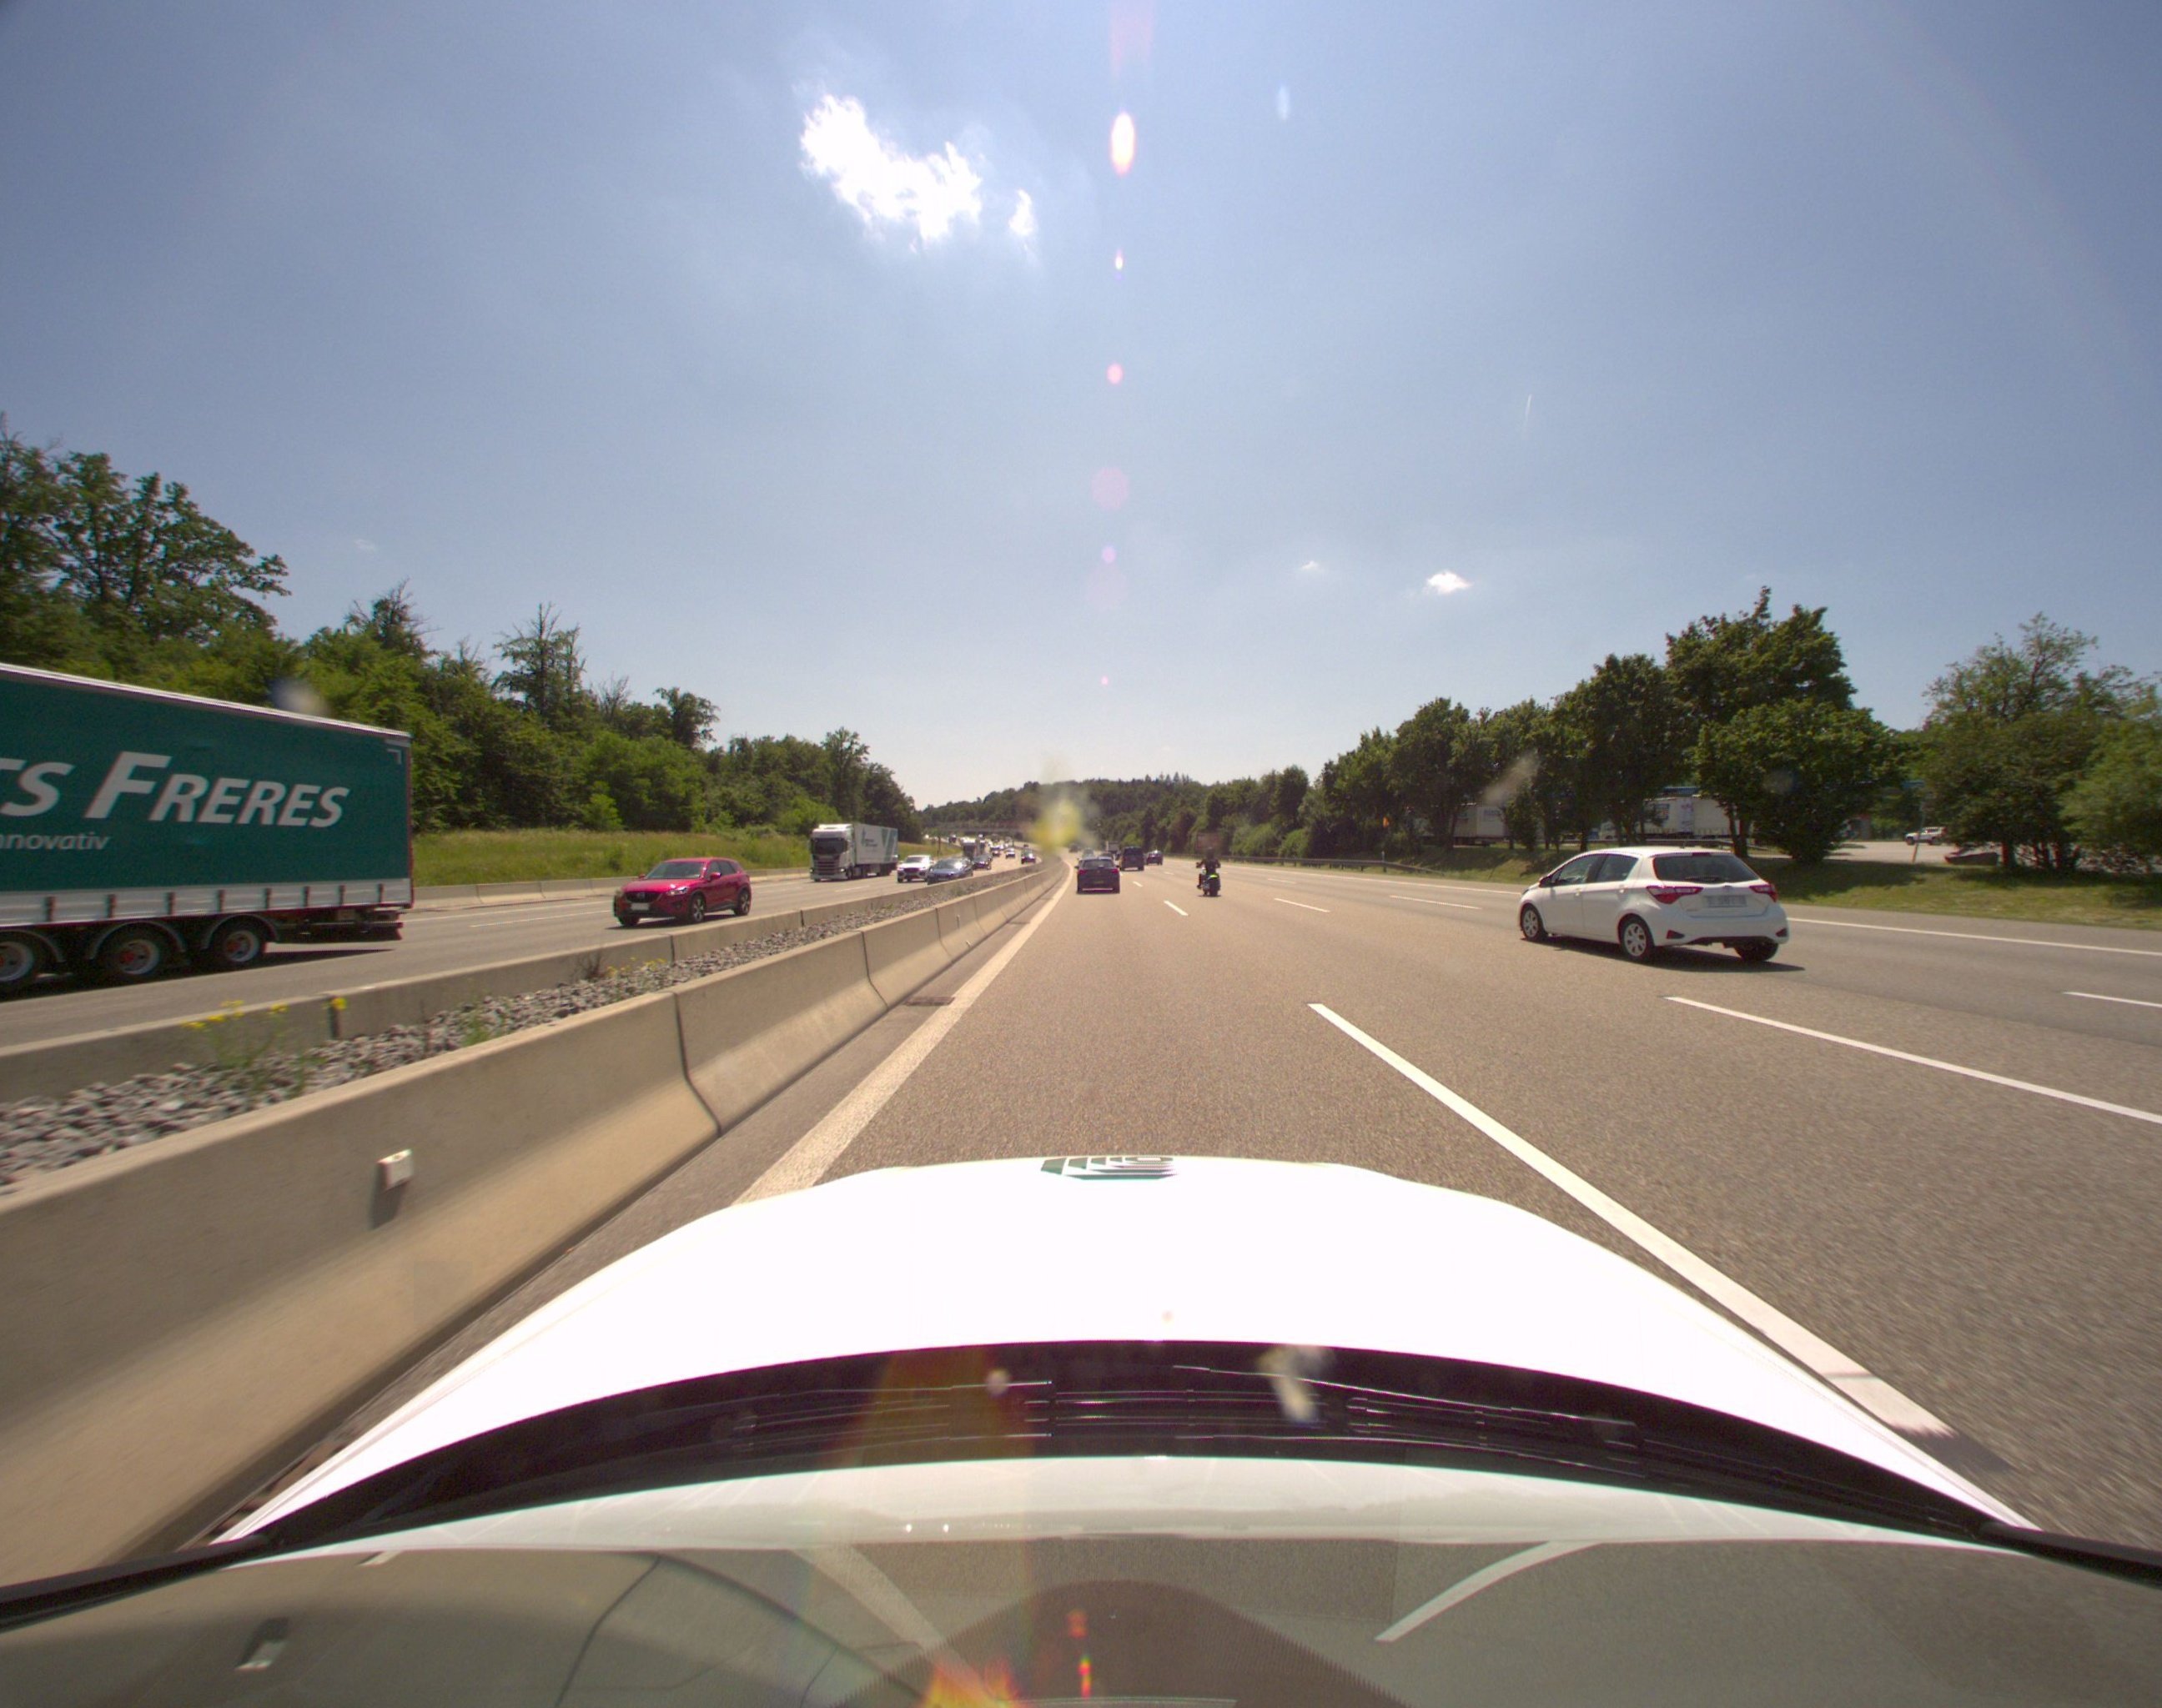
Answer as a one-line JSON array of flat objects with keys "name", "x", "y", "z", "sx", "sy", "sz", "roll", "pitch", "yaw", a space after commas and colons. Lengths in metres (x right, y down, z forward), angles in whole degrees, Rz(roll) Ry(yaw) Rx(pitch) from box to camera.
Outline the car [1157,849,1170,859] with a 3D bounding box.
[{"name": "car", "x": 11.496, "y": 0.000, "z": 113.695, "sx": 1.601, "sy": 1.212, "sz": 3.463, "roll": -1, "pitch": -2, "yaw": 4}]

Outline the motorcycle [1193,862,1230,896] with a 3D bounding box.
[{"name": "motorcycle", "x": 4.566, "y": 0.848, "z": 28.592, "sx": 0.974, "sy": 1.129, "sz": 2.272, "roll": -1, "pitch": 0, "yaw": 2}]

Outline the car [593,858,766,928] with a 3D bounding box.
[{"name": "car", "x": -10.255, "y": 0.922, "z": 21.311, "sx": 1.987, "sy": 1.548, "sz": 4.882, "roll": -2, "pitch": 0, "yaw": 1}]

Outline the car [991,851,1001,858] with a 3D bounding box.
[{"name": "car", "x": -19.275, "y": 0.060, "z": 184.572, "sx": 1.989, "sy": 1.354, "sz": 3.832, "roll": 2, "pitch": 0, "yaw": -4}]

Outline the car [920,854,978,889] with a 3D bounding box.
[{"name": "car", "x": -6.482, "y": 0.826, "z": 40.528, "sx": 1.987, "sy": 1.548, "sz": 4.882, "roll": -2, "pitch": 0, "yaw": 1}]

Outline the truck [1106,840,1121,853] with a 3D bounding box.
[{"name": "truck", "x": 7.185, "y": -1.603, "z": 179.919, "sx": 2.721, "sy": 2.786, "sz": 5.674, "roll": 2, "pitch": 0, "yaw": -4}]

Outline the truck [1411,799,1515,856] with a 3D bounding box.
[{"name": "truck", "x": 35.203, "y": -2.229, "z": 75.997, "sx": 3.313, "sy": 4.829, "sz": 14.707, "roll": -1, "pitch": 0, "yaw": 2}]

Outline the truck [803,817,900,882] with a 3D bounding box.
[{"name": "truck", "x": -17.165, "y": -0.290, "z": 62.602, "sx": 2.891, "sy": 4.351, "sz": 16.549, "roll": -1, "pitch": 0, "yaw": -1}]

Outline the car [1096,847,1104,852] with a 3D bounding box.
[{"name": "car", "x": 5.722, "y": -1.336, "z": 243.293, "sx": 1.988, "sy": 1.574, "sz": 3.997, "roll": 2, "pitch": 0, "yaw": -2}]

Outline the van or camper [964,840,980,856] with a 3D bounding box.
[{"name": "van or camper", "x": -20.340, "y": -1.195, "z": 151.769, "sx": 2.309, "sy": 2.771, "sz": 7.157, "roll": 2, "pitch": 2, "yaw": -3}]

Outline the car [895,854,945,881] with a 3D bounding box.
[{"name": "car", "x": -10.081, "y": 0.807, "z": 51.349, "sx": 1.986, "sy": 1.548, "sz": 4.882, "roll": -2, "pitch": 0, "yaw": 1}]

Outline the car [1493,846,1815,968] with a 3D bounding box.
[{"name": "car", "x": 7.939, "y": 0.635, "z": 11.893, "sx": 1.660, "sy": 1.433, "sz": 4.376, "roll": -1, "pitch": 0, "yaw": 1}]

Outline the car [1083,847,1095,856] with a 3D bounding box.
[{"name": "car", "x": 1.509, "y": -0.470, "z": 158.315, "sx": 1.989, "sy": 1.684, "sz": 4.418, "roll": 2, "pitch": 0, "yaw": -4}]

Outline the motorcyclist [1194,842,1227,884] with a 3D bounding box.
[{"name": "motorcyclist", "x": 4.542, "y": 0.299, "z": 28.662, "sx": 0.958, "sy": 1.437, "sz": 1.235, "roll": -1, "pitch": 0, "yaw": 1}]

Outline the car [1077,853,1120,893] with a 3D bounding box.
[{"name": "car", "x": 0.672, "y": 0.743, "z": 33.101, "sx": 1.619, "sy": 1.487, "sz": 3.684, "roll": -1, "pitch": -1, "yaw": 0}]

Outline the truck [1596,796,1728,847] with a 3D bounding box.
[{"name": "truck", "x": 45.738, "y": -2.439, "z": 64.681, "sx": 3.313, "sy": 3.564, "sz": 10.559, "roll": -1, "pitch": 0, "yaw": 2}]

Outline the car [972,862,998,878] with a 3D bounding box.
[{"name": "car", "x": -9.911, "y": 1.624, "z": 84.675, "sx": 2.017, "sy": 1.548, "sz": 4.882, "roll": -2, "pitch": 0, "yaw": 1}]

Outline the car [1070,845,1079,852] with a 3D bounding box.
[{"name": "car", "x": -1.812, "y": -1.531, "z": 227.201, "sx": 1.989, "sy": 2.013, "sz": 4.668, "roll": 2, "pitch": 0, "yaw": -4}]

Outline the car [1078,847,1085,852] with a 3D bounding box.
[{"name": "car", "x": 0.249, "y": -1.469, "z": 248.774, "sx": 1.986, "sy": 1.574, "sz": 4.002, "roll": 2, "pitch": 0, "yaw": 2}]

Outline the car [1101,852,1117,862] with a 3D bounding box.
[{"name": "car", "x": 3.729, "y": 0.455, "z": 109.425, "sx": 1.838, "sy": 1.222, "sz": 4.219, "roll": 2, "pitch": 0, "yaw": -3}]

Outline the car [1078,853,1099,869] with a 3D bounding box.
[{"name": "car", "x": 0.646, "y": 0.619, "z": 72.599, "sx": 1.777, "sy": 1.265, "sz": 3.459, "roll": -2, "pitch": 0, "yaw": -1}]

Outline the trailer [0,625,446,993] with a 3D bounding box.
[{"name": "trailer", "x": -14.021, "y": -0.516, "z": 8.976, "sx": 2.492, "sy": 4.351, "sz": 14.307, "roll": -1, "pitch": 0, "yaw": 1}]

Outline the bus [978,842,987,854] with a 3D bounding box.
[{"name": "bus", "x": -25.100, "y": -1.518, "z": 208.131, "sx": 1.757, "sy": 2.837, "sz": 4.618, "roll": 2, "pitch": 0, "yaw": -2}]

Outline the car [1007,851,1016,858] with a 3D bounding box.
[{"name": "car", "x": -14.063, "y": 0.012, "z": 165.469, "sx": 1.772, "sy": 1.368, "sz": 3.478, "roll": 2, "pitch": 0, "yaw": -3}]

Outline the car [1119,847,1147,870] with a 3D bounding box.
[{"name": "car", "x": 4.328, "y": 0.354, "z": 68.507, "sx": 2.090, "sy": 1.851, "sz": 4.080, "roll": -1, "pitch": 0, "yaw": 0}]

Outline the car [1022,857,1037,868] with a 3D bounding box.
[{"name": "car", "x": -7.150, "y": 1.158, "z": 112.797, "sx": 1.984, "sy": 1.548, "sz": 4.872, "roll": -2, "pitch": 0, "yaw": -5}]
